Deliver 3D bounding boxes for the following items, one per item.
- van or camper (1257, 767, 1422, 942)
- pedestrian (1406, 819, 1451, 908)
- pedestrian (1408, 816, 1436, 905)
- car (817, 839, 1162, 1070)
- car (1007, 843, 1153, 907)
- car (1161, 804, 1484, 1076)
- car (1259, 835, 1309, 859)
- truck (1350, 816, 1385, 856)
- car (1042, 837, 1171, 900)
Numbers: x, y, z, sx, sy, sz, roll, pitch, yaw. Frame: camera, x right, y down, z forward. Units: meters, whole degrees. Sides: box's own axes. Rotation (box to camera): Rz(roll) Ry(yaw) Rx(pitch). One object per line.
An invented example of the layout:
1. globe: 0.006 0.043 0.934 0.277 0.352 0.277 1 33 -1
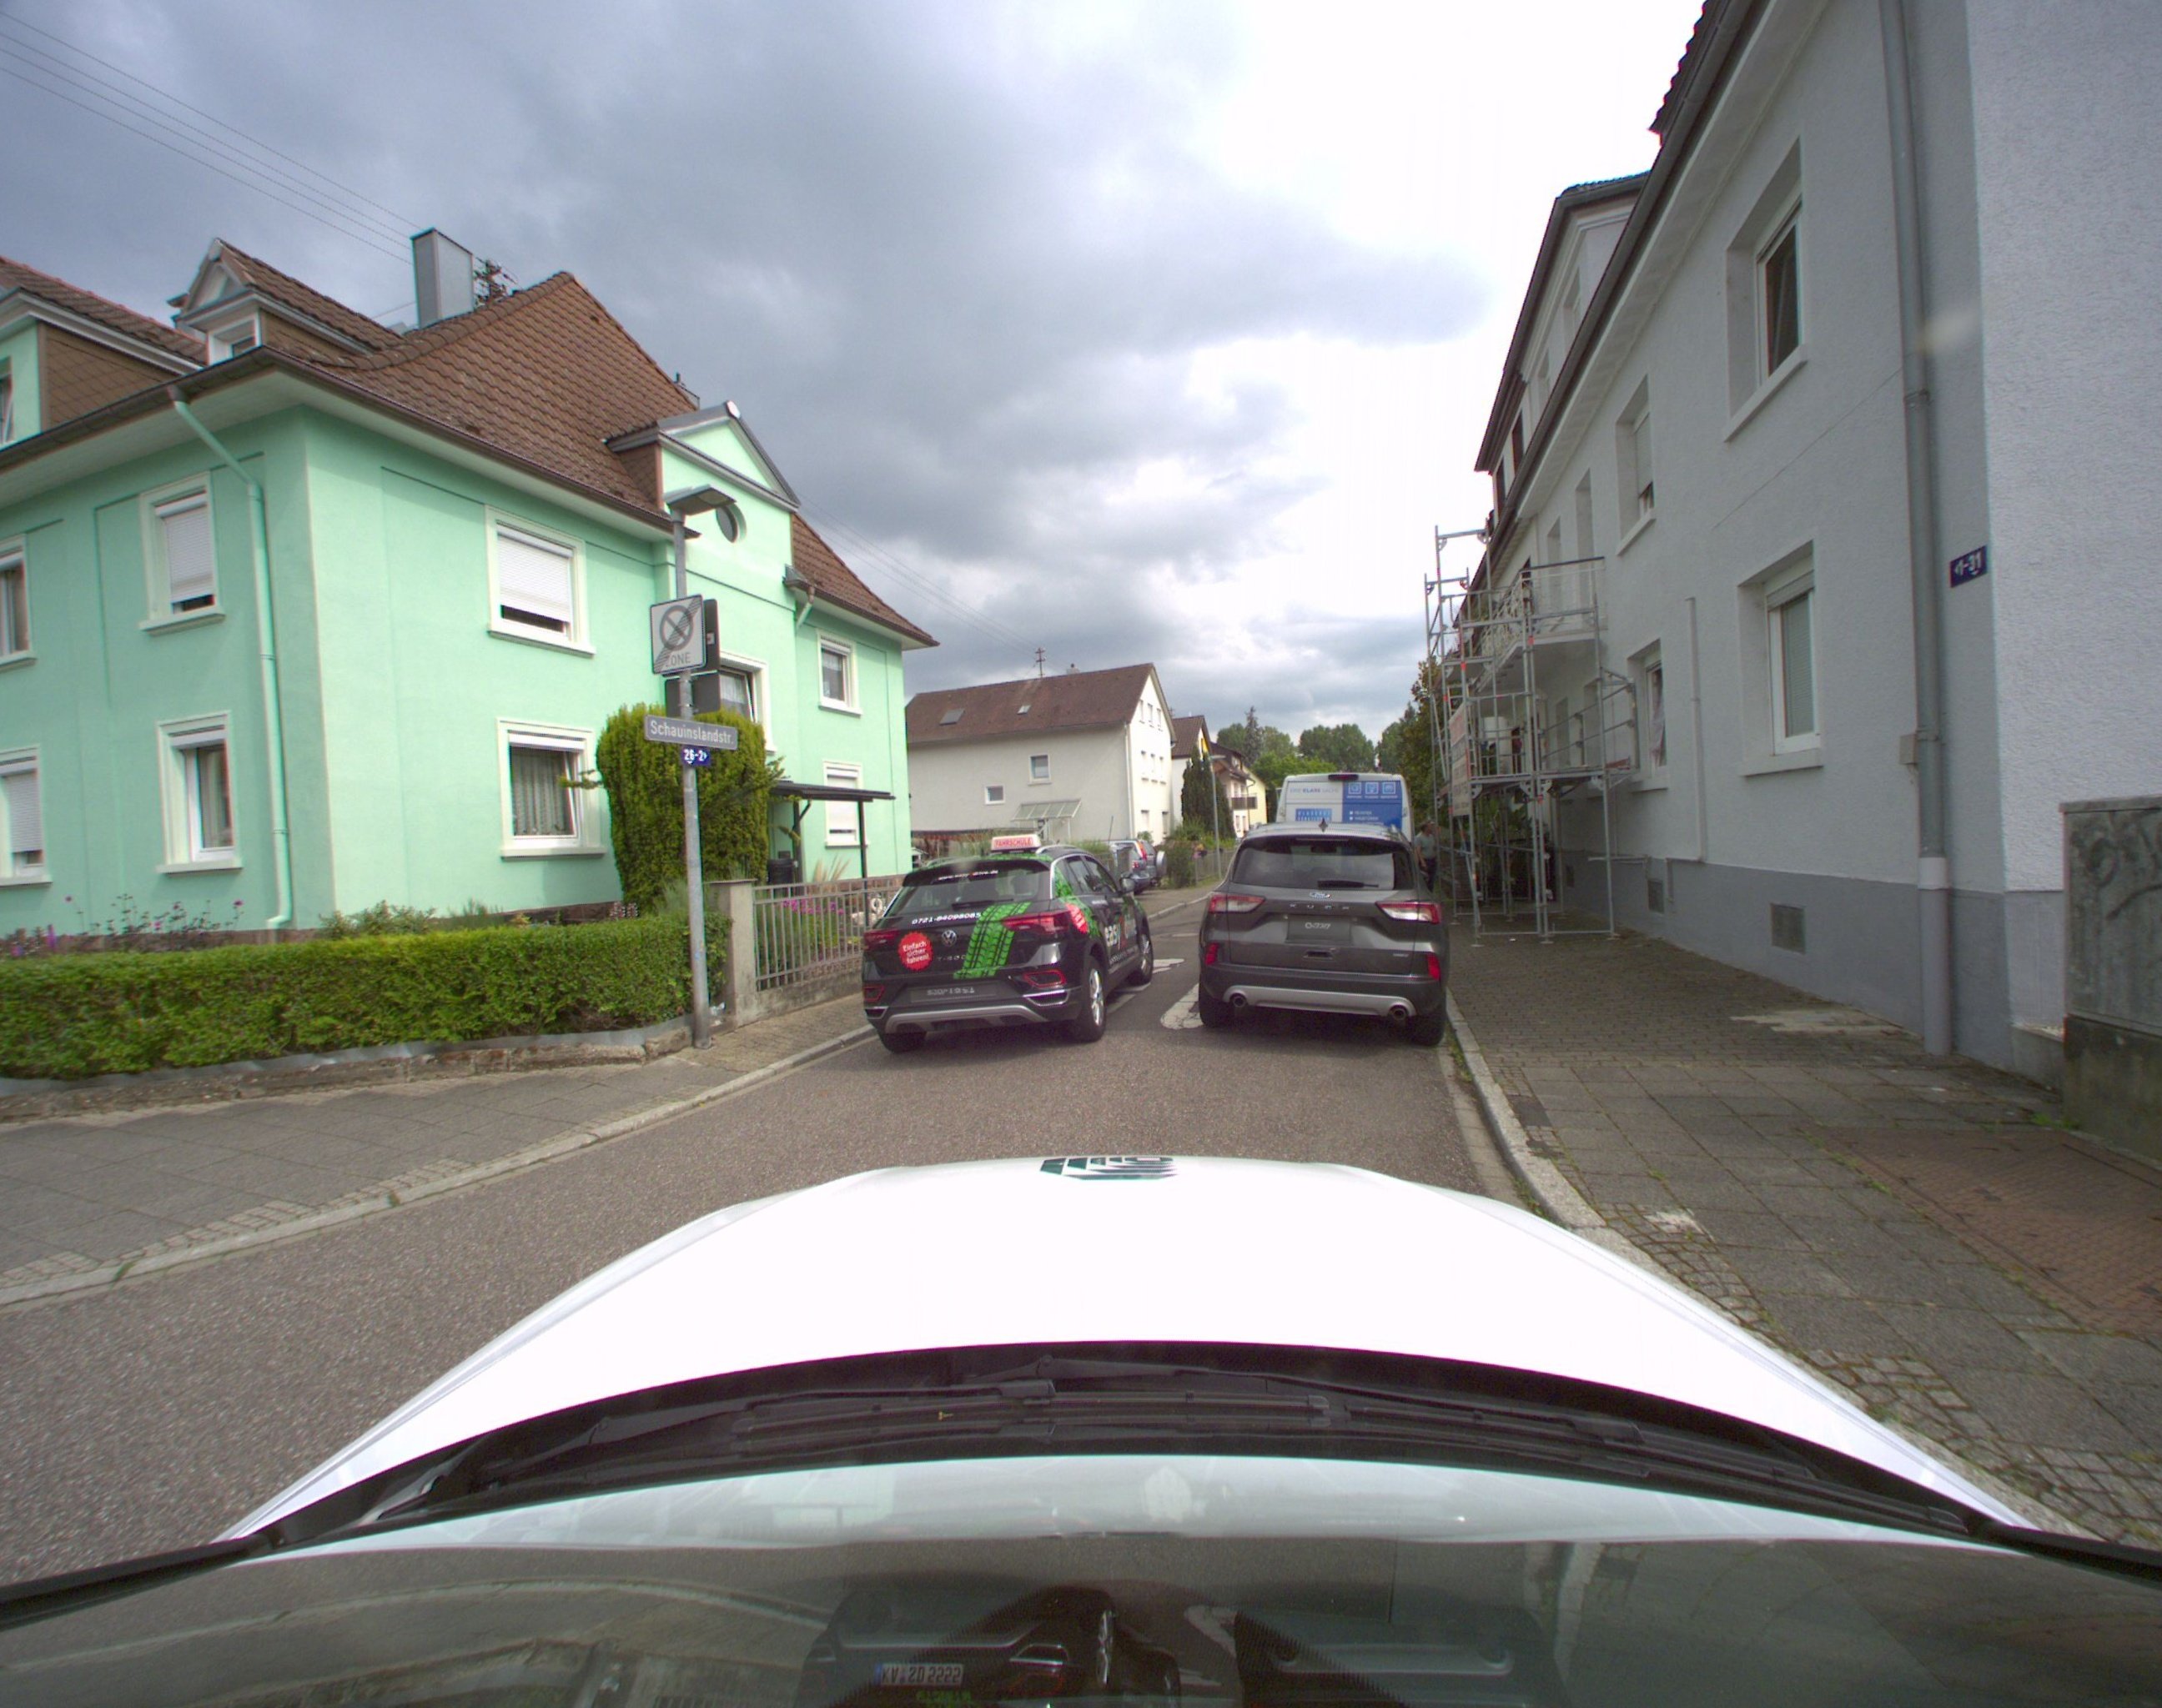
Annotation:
1. van or camper: 4.577 -0.024 14.336 2.174 2.459 5.079 -3 1 19
2. pedestrian: 6.616 0.180 15.511 0.619 1.629 0.605 -3 -1 13
3. pedestrian: 6.942 0.133 16.585 0.404 1.762 0.515 -3 -1 18
4. car: -0.477 0.697 7.594 1.803 1.520 4.058 -4 0 14
5. car: 0.000 0.548 21.948 3.544 1.500 1.594 -3 0 15
6. car: 2.193 0.536 7.517 1.978 1.726 4.362 -3 1 17
7. car: 17.097 -0.604 68.618 3.956 1.772 1.878 -3 -1 16
8. truck: 20.442 -1.304 58.310 2.113 2.657 4.606 -3 1 17
9. car: 0.787 0.433 24.712 3.544 1.667 1.594 -3 0 15
